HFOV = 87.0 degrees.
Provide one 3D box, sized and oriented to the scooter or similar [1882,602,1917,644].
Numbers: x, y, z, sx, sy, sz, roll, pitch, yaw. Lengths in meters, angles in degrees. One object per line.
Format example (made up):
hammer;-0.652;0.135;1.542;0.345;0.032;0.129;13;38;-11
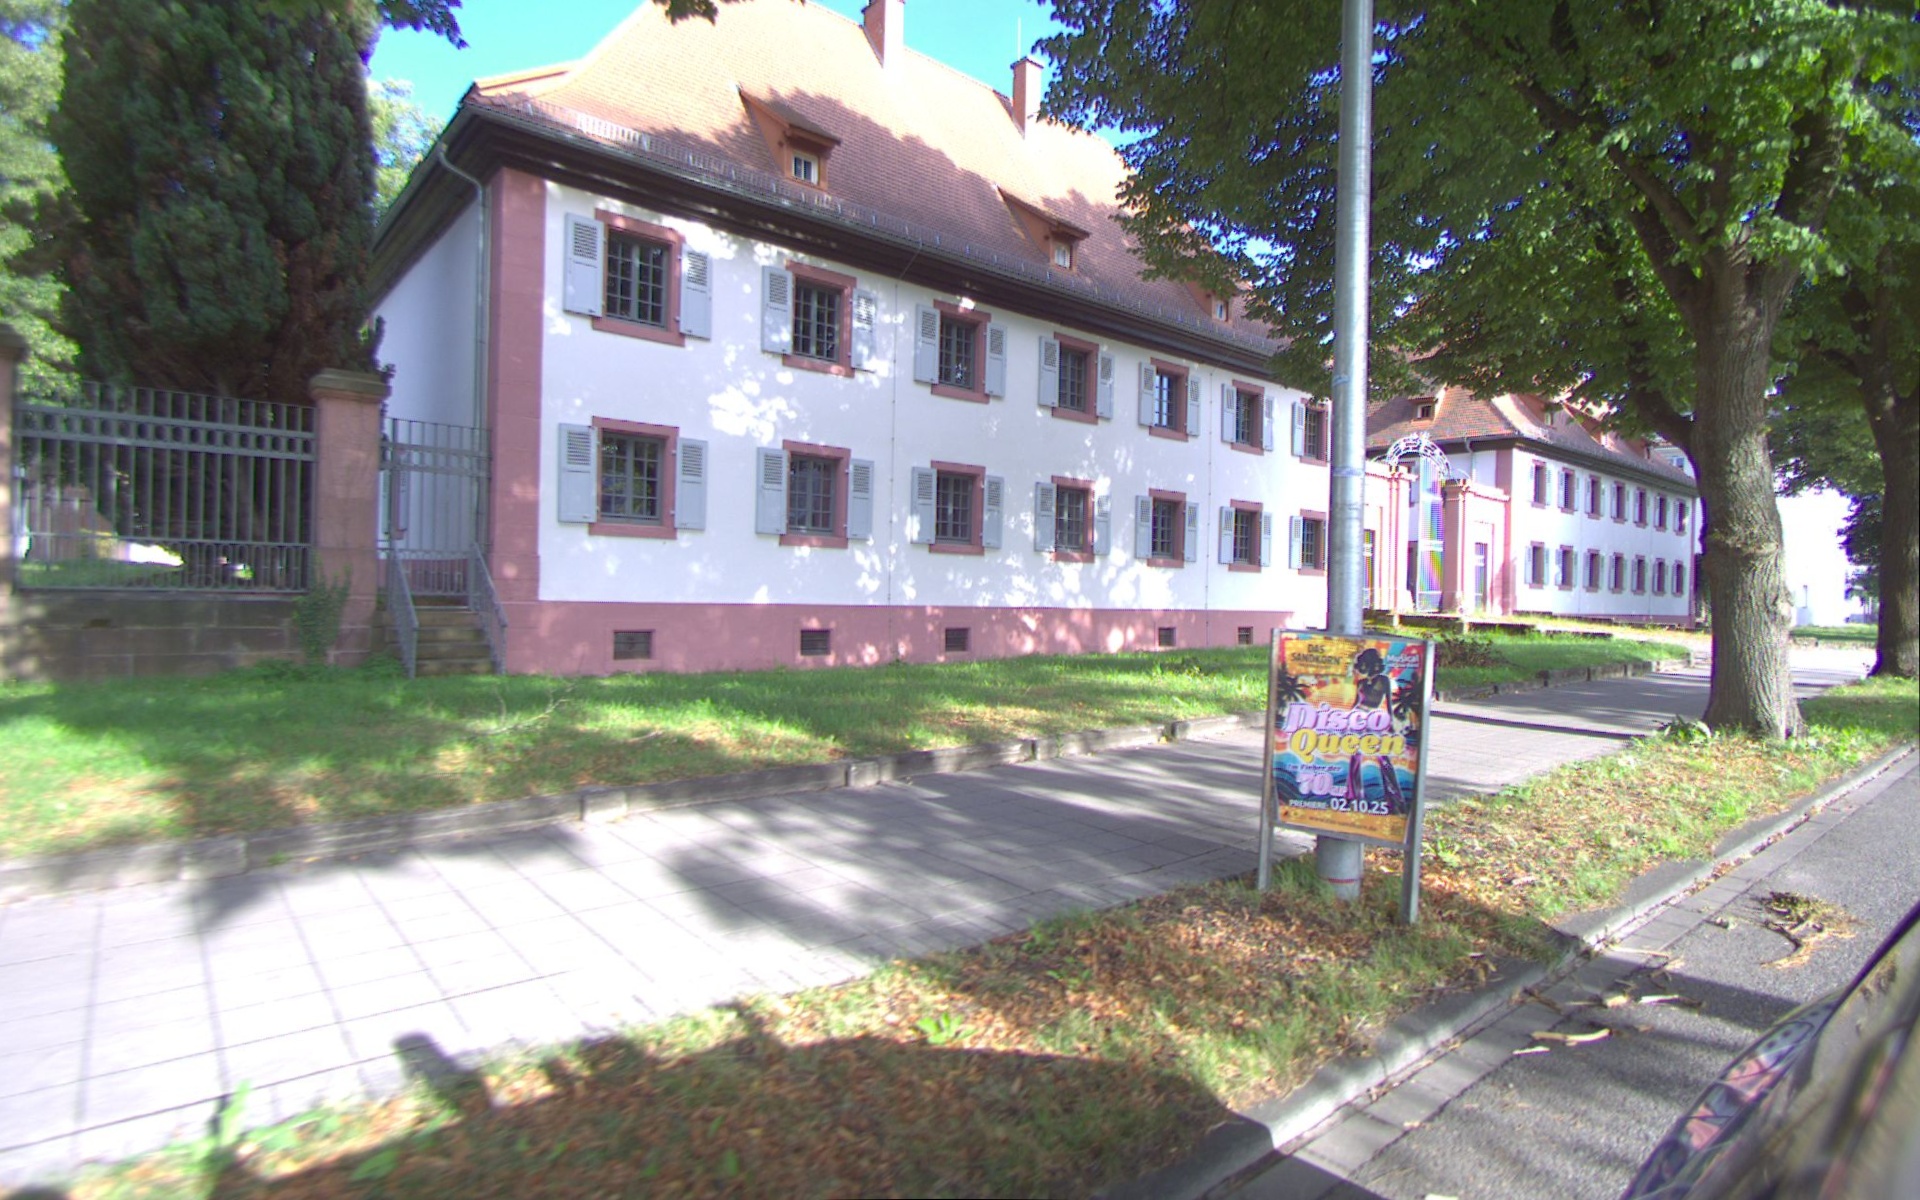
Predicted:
scooter or similar;30.381;0.730;32.735;1.356;1.307;0.581;1;2;-39
